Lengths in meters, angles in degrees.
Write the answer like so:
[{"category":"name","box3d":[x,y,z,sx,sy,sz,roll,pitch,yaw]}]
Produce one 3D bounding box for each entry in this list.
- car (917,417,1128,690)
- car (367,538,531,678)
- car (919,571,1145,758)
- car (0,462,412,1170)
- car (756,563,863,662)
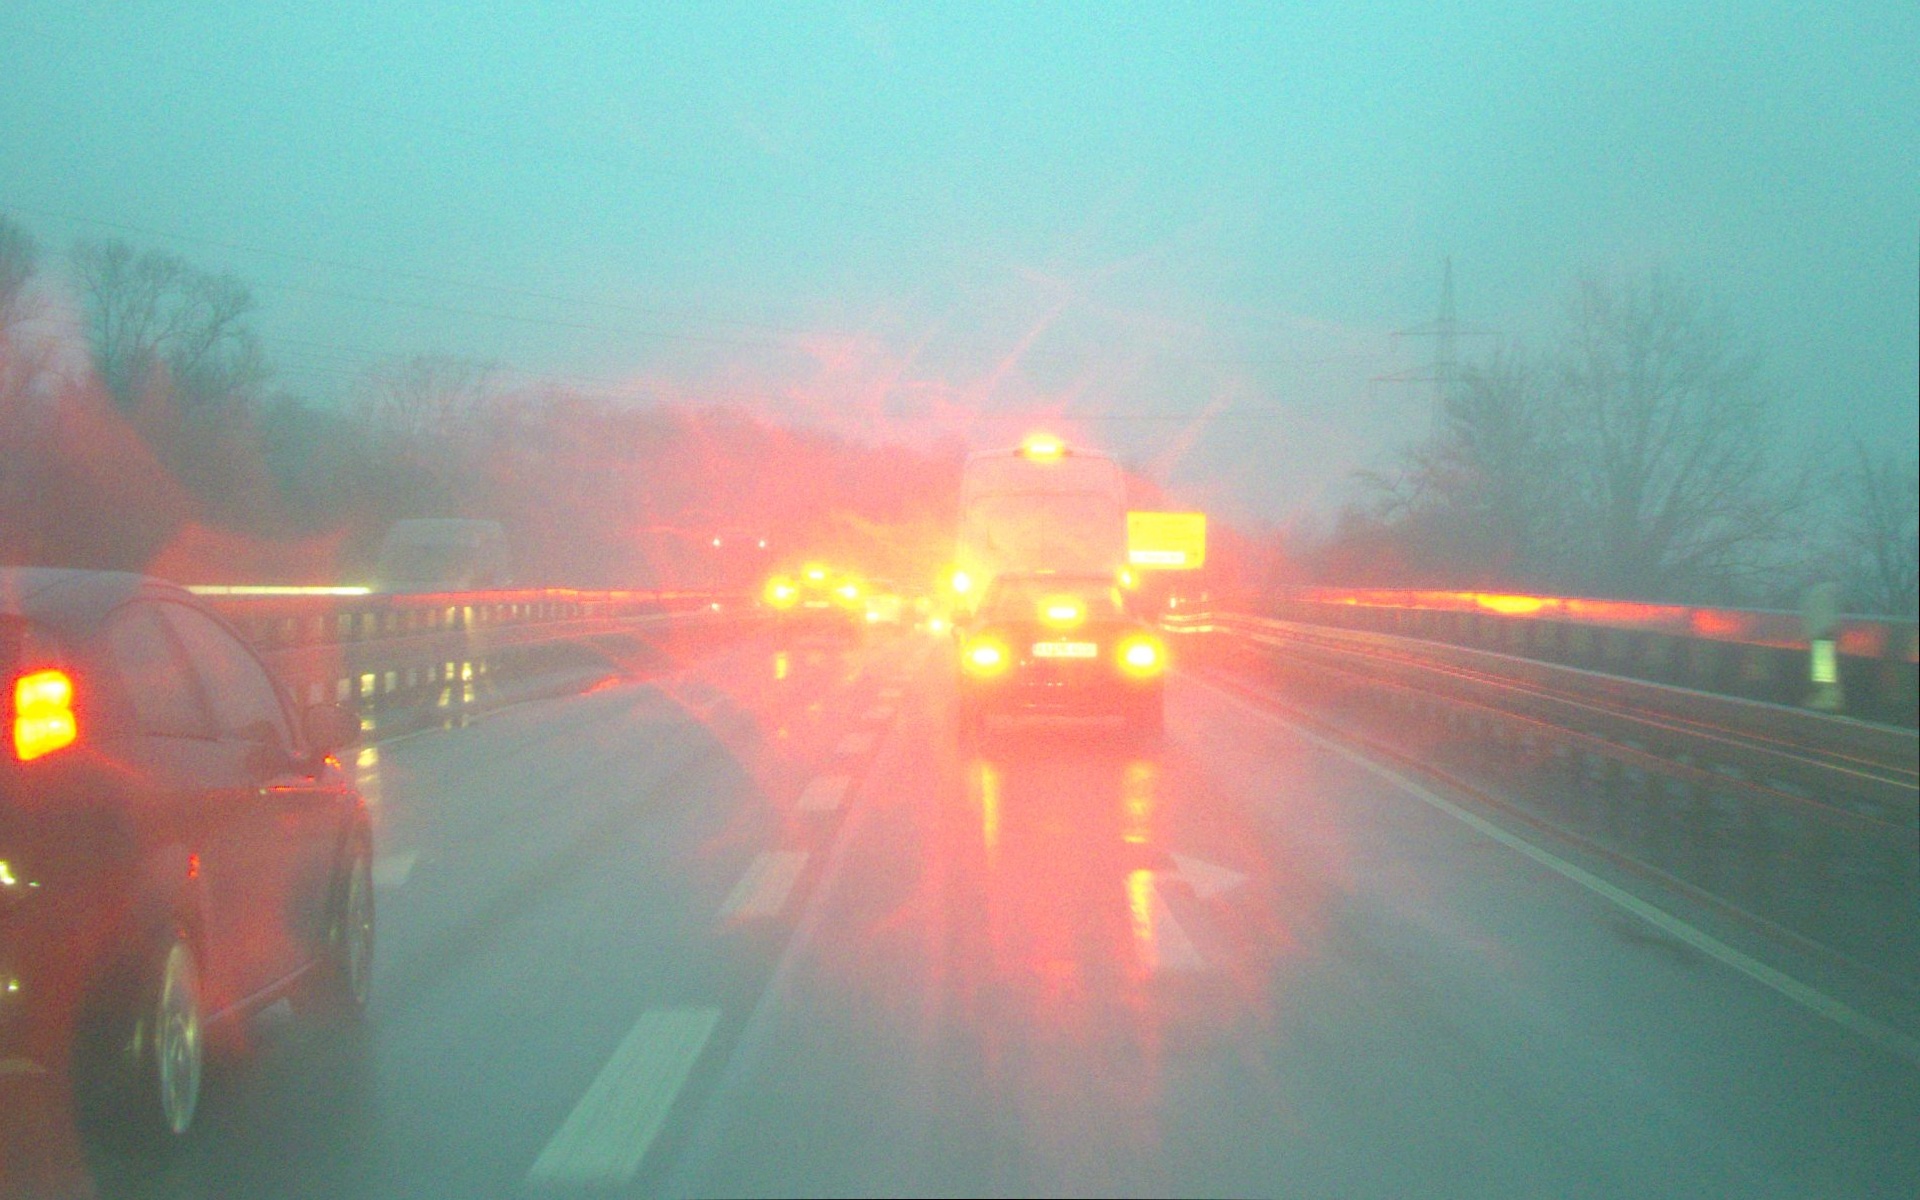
[{"category":"car","box3d":[0.696,-0.490,40.735,2.282,2.956,6.390,-1,0,0]},{"category":"car","box3d":[-8.611,0.139,58.340,2.049,2.256,5.208,0,0,-1]},{"category":"car","box3d":[0.636,0.492,29.468,1.736,1.410,4.377,2,1,2]},{"category":"car","box3d":[-2.737,0.497,9.459,1.730,1.527,4.042,0,-1,1]},{"category":"car","box3d":[-2.992,0.227,69.007,1.993,1.808,4.000,3,1,-1]}]
